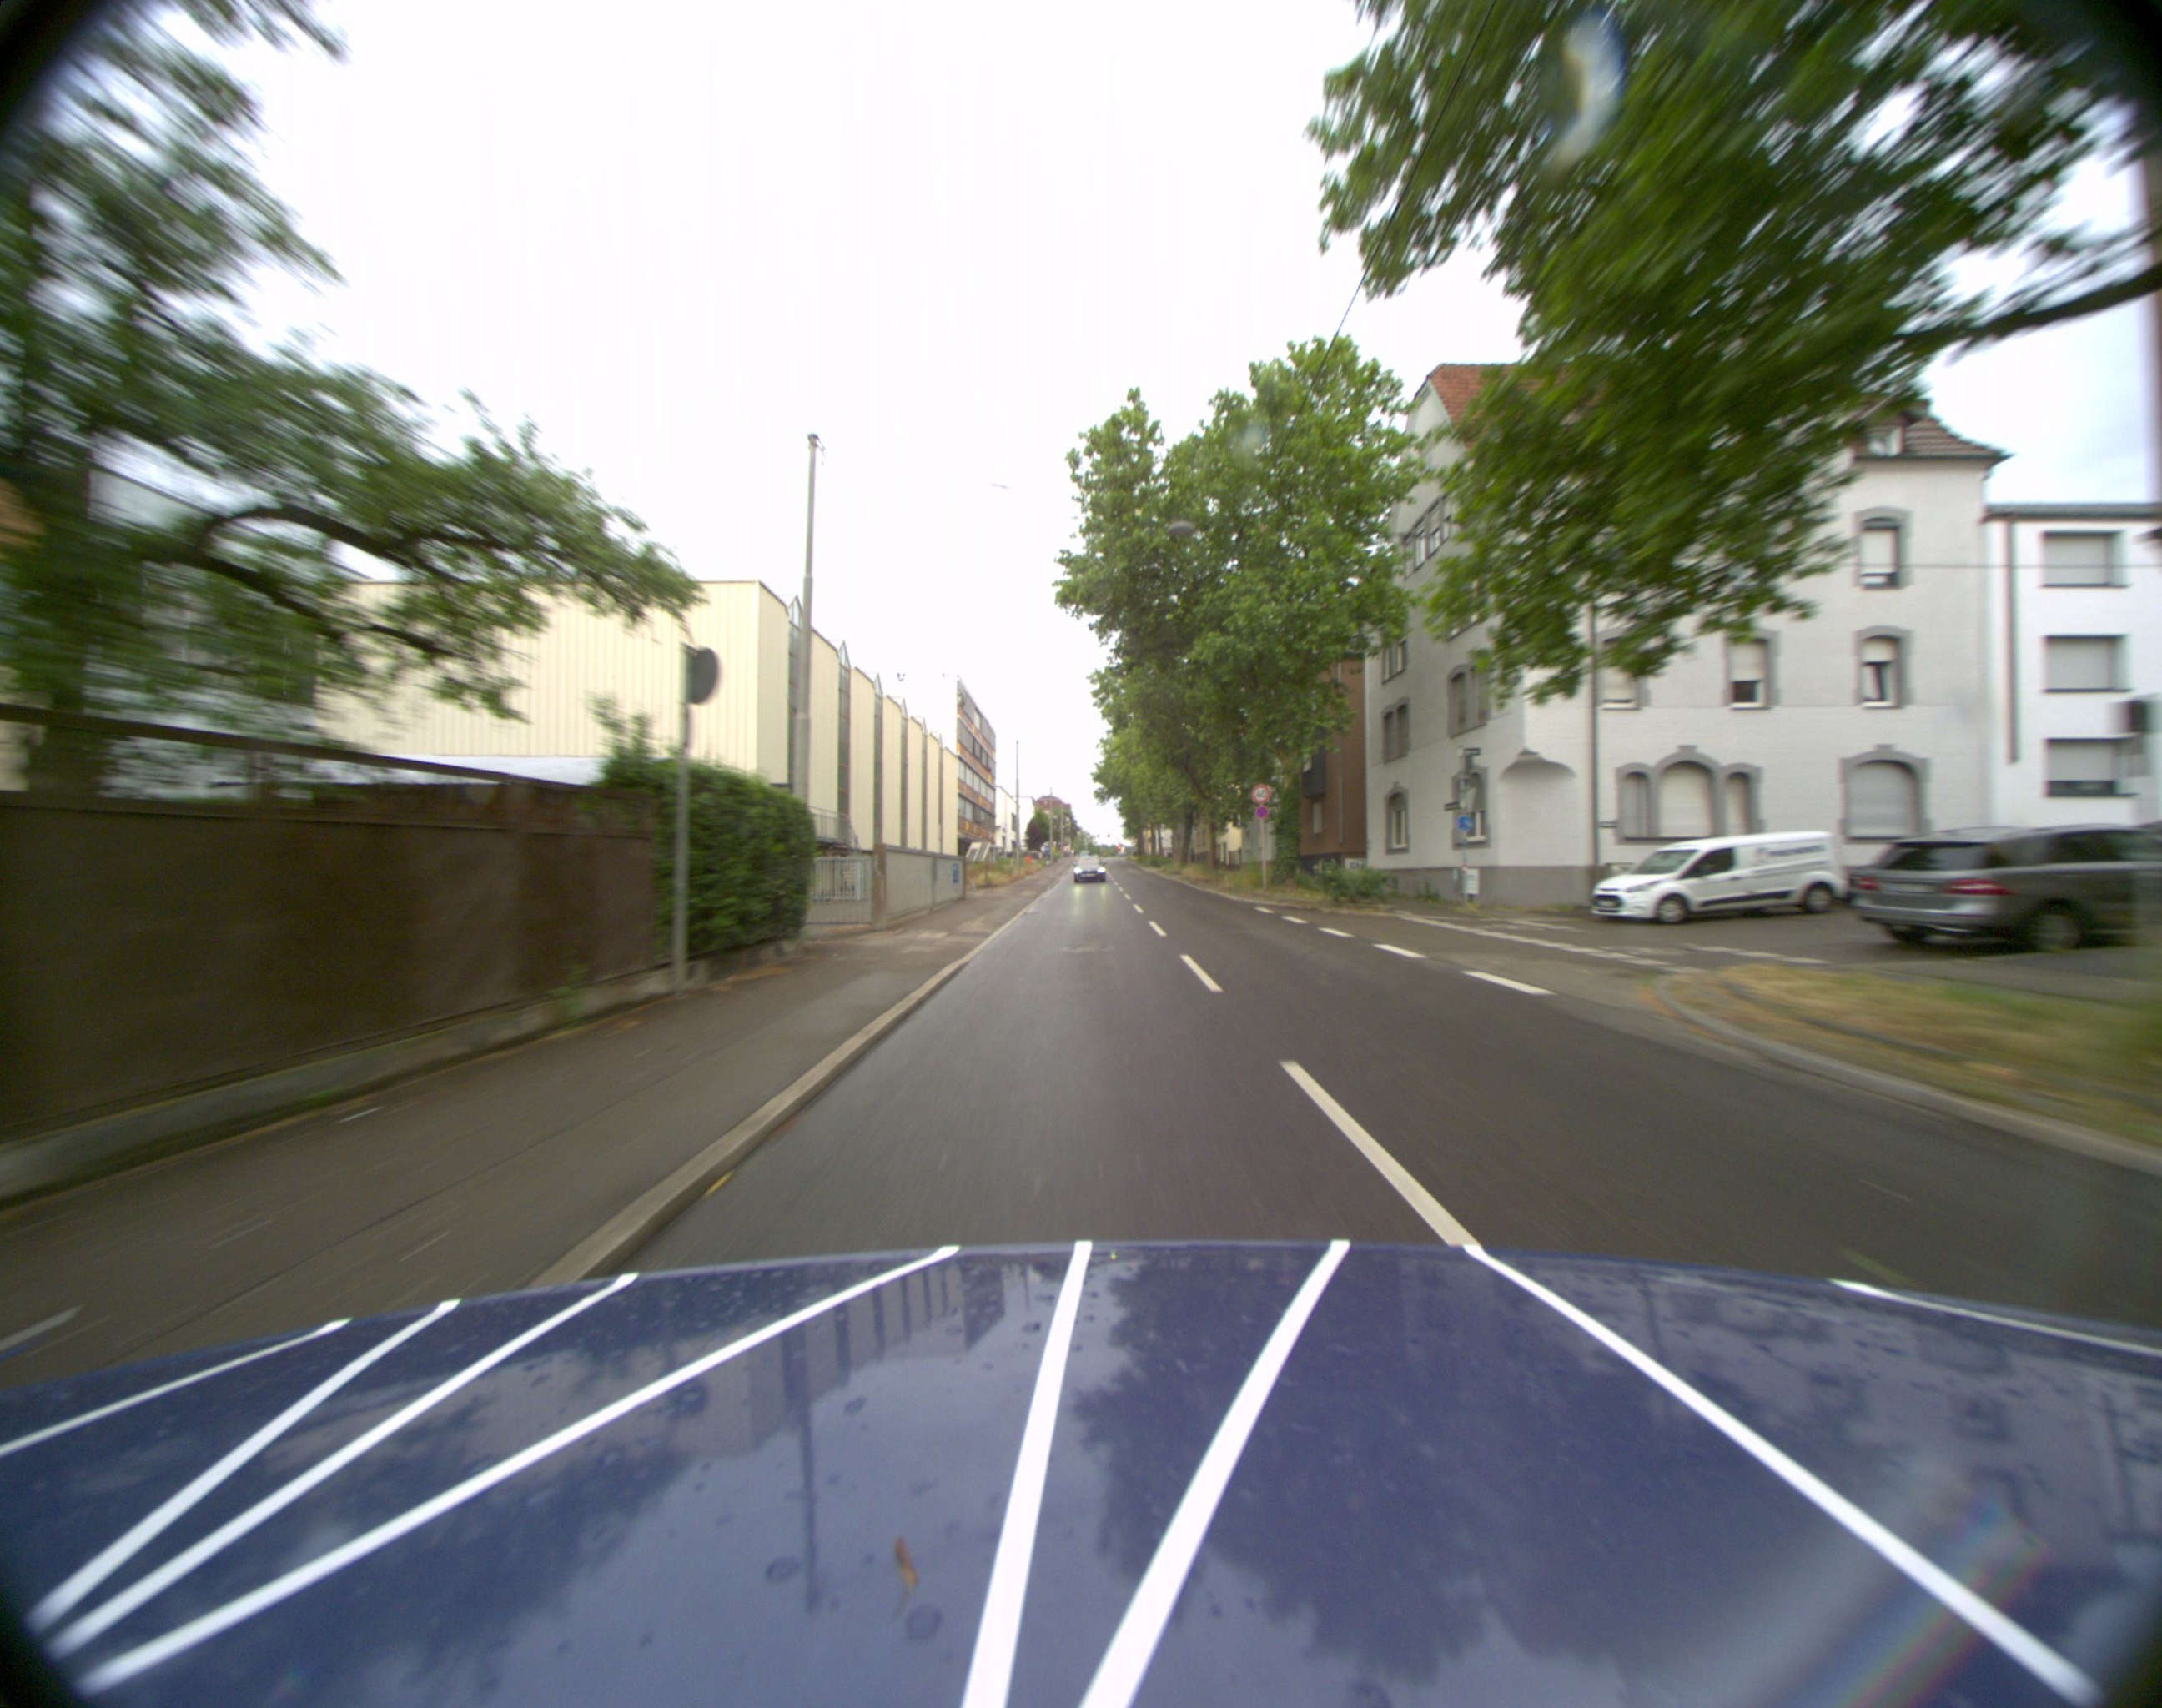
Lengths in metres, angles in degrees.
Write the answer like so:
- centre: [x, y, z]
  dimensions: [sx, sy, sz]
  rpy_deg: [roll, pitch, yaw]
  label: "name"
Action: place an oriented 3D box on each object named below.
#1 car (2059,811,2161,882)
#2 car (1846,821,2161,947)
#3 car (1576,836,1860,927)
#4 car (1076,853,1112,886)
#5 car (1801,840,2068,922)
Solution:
- centre: [24.308, -0.250, 16.656]
  dimensions: [3.579, 1.376, 1.634]
  rpy_deg: [-4, 1, 0]
  label: "car"
- centre: [14.432, 0.372, 11.248]
  dimensions: [4.125, 1.602, 2.043]
  rpy_deg: [-2, 1, 1]
  label: "car"
- centre: [14.209, 0.580, 17.174]
  dimensions: [4.682, 1.768, 2.020]
  rpy_deg: [-2, 1, 0]
  label: "car"
- centre: [0.701, 0.812, 43.030]
  dimensions: [1.949, 1.644, 3.858]
  rpy_deg: [-1, 2, 0]
  label: "car"
- centre: [19.370, 0.584, 17.384]
  dimensions: [3.997, 1.478, 1.793]
  rpy_deg: [-4, 0, 1]
  label: "car"
